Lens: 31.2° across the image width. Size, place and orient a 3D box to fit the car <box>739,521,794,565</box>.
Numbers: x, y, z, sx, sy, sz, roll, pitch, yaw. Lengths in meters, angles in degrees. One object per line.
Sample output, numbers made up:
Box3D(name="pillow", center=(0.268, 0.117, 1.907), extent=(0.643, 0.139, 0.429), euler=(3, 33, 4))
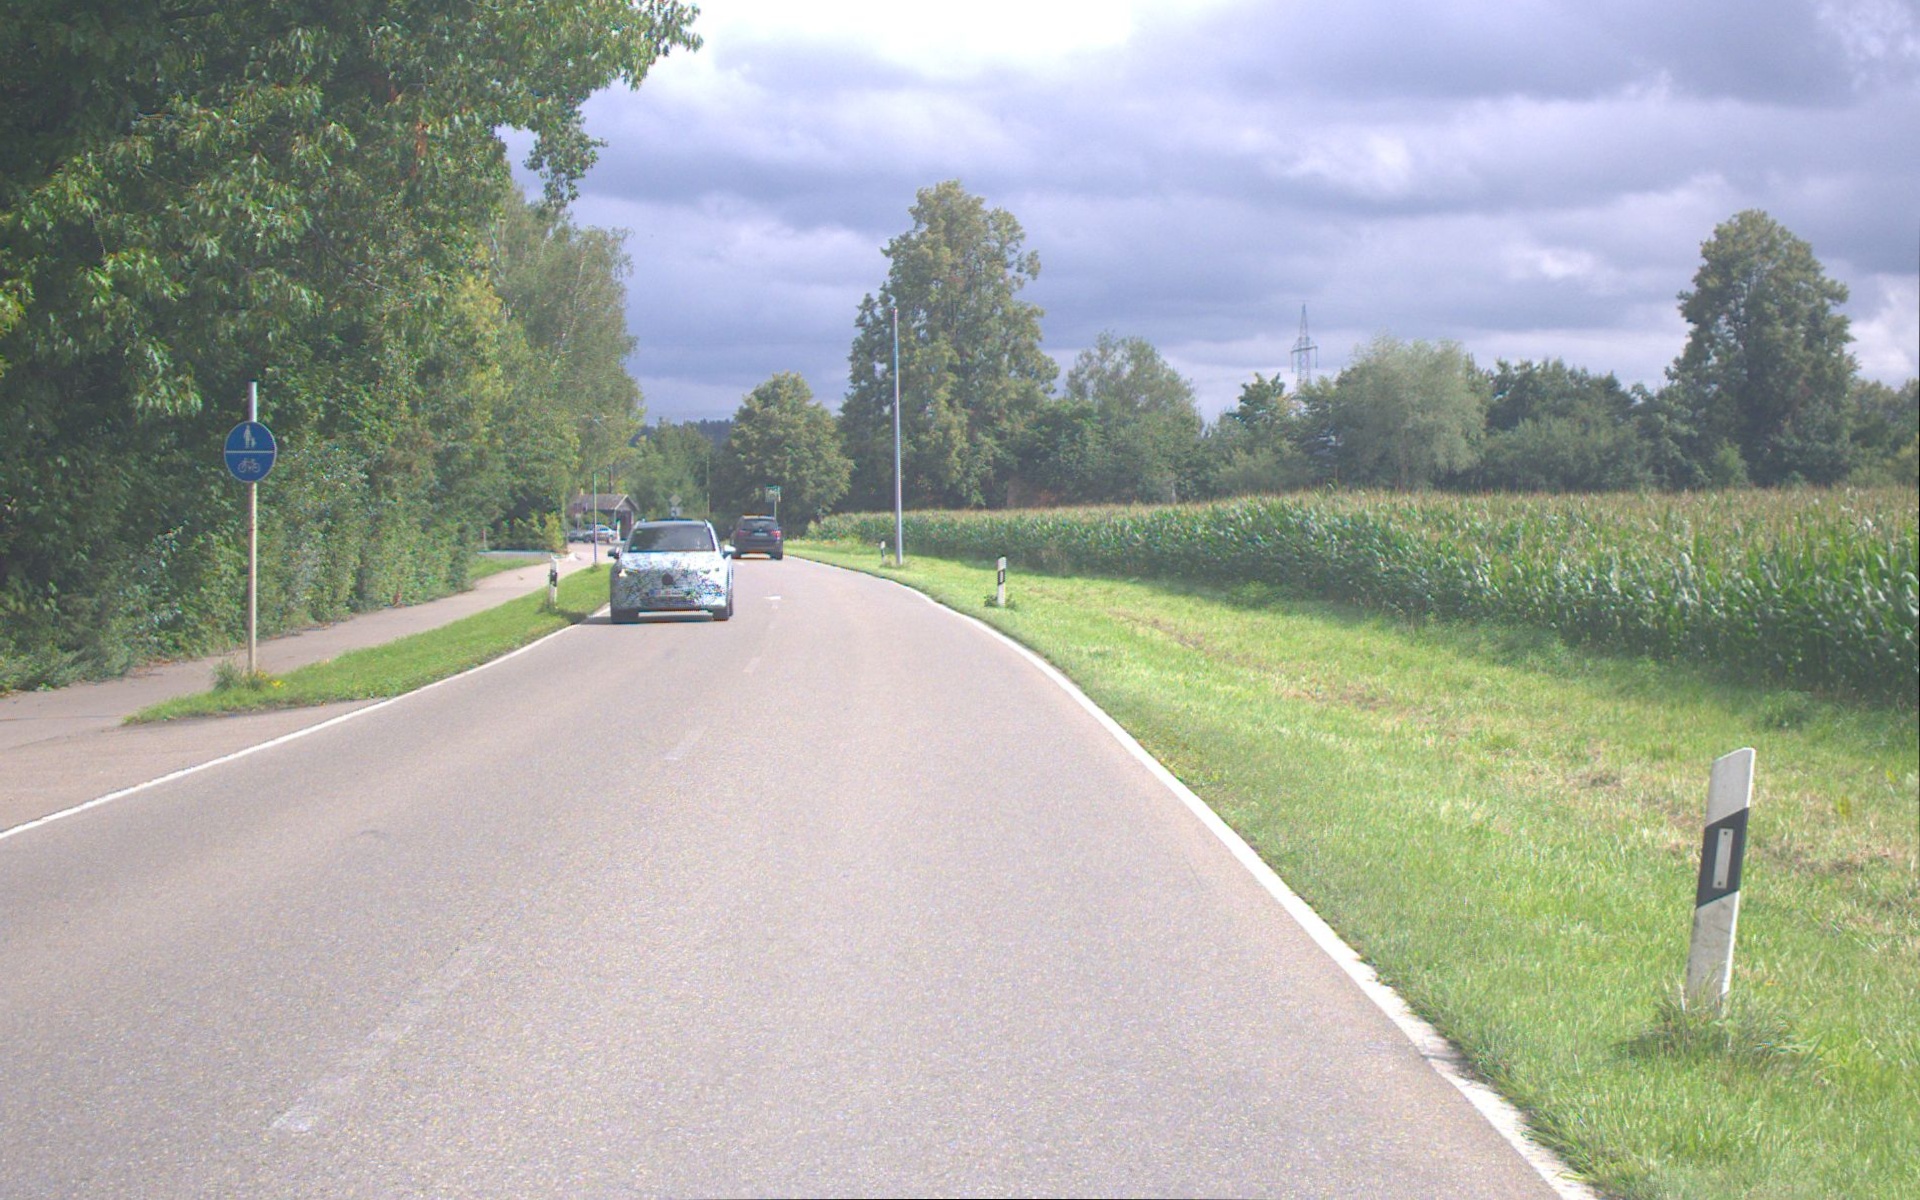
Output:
Box3D(name="car", center=(-7.452, -2.196, 132.589), extent=(1.993, 1.579, 4.000), euler=(2, 1, -2))

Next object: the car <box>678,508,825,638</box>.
Box3D(name="car", center=(-3.470, -0.460, 56.622), extent=(1.993, 2.007, 4.001), euler=(2, 1, -9))

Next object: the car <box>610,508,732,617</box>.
Box3D(name="car", center=(-4.675, -0.645, 56.052), extent=(1.811, 1.645, 4.293), euler=(-2, 2, -3))
